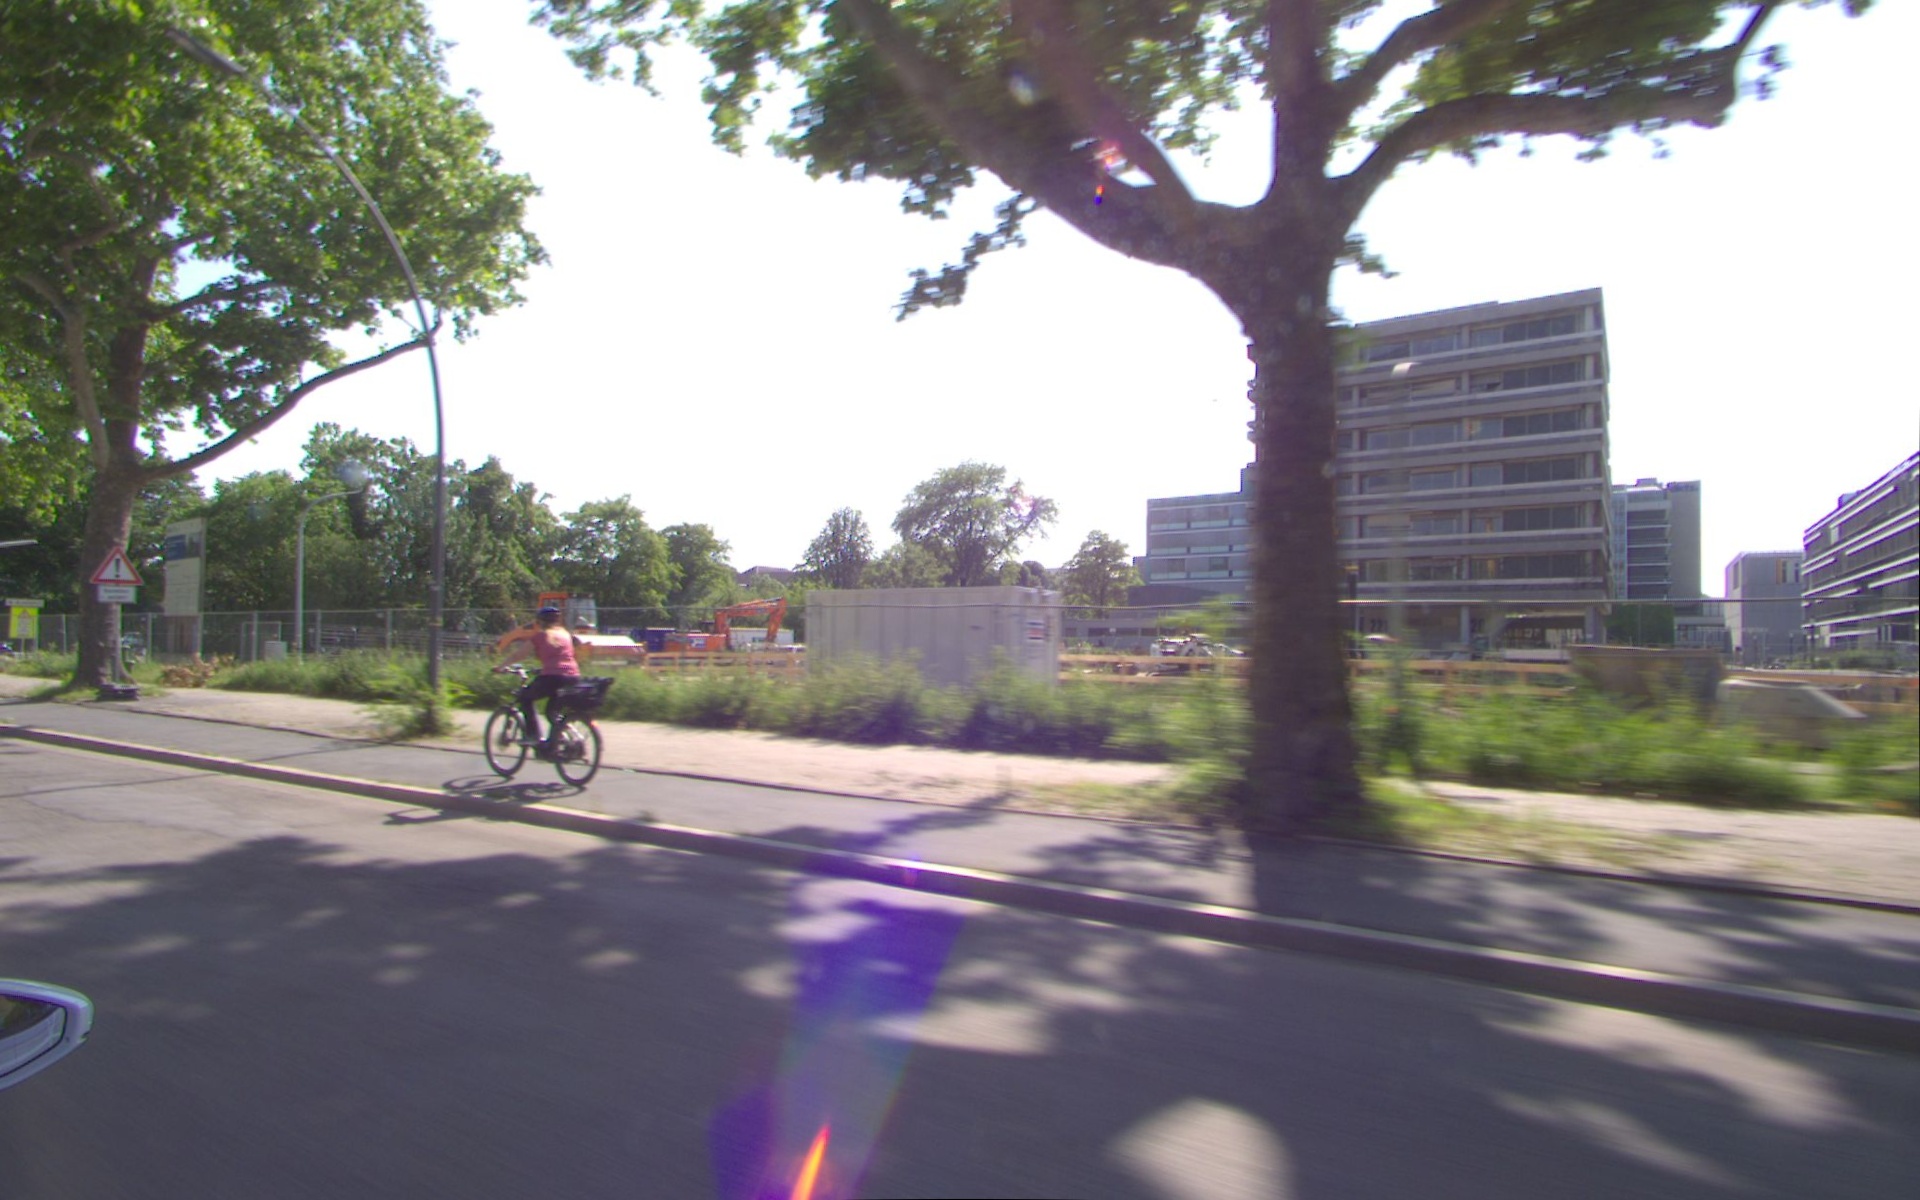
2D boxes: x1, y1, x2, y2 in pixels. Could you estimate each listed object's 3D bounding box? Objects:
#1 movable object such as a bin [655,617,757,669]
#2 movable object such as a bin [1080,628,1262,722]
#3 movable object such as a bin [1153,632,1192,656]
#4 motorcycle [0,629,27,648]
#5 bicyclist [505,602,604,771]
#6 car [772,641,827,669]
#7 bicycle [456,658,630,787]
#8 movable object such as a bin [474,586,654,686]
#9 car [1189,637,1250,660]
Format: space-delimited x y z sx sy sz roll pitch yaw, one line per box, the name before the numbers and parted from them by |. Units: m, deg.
movable object such as a bin | -15.382 2.654 60.870 3.248 3.012 5.169 0 -3 33
movable object such as a bin | 12.859 4.596 63.055 6.636 5.240 11.765 2 -3 -15
movable object such as a bin | 18.832 3.923 88.710 2.630 2.039 2.747 0 -2 31
motorcycle | -48.444 1.955 51.030 0.463 0.979 1.220 0 -2 26
bicyclist | -4.056 0.830 10.028 0.721 1.621 0.619 0 0 31
car | -10.841 3.727 67.776 1.788 1.788 3.508 0 -3 33
bicycle | -4.237 1.185 10.121 1.917 1.144 0.650 0 -1 32
movable object such as a bin | -13.250 1.171 33.402 5.895 3.110 2.368 0 -2 30
car | 20.867 3.888 80.547 4.374 1.794 1.787 -1 -2 35
